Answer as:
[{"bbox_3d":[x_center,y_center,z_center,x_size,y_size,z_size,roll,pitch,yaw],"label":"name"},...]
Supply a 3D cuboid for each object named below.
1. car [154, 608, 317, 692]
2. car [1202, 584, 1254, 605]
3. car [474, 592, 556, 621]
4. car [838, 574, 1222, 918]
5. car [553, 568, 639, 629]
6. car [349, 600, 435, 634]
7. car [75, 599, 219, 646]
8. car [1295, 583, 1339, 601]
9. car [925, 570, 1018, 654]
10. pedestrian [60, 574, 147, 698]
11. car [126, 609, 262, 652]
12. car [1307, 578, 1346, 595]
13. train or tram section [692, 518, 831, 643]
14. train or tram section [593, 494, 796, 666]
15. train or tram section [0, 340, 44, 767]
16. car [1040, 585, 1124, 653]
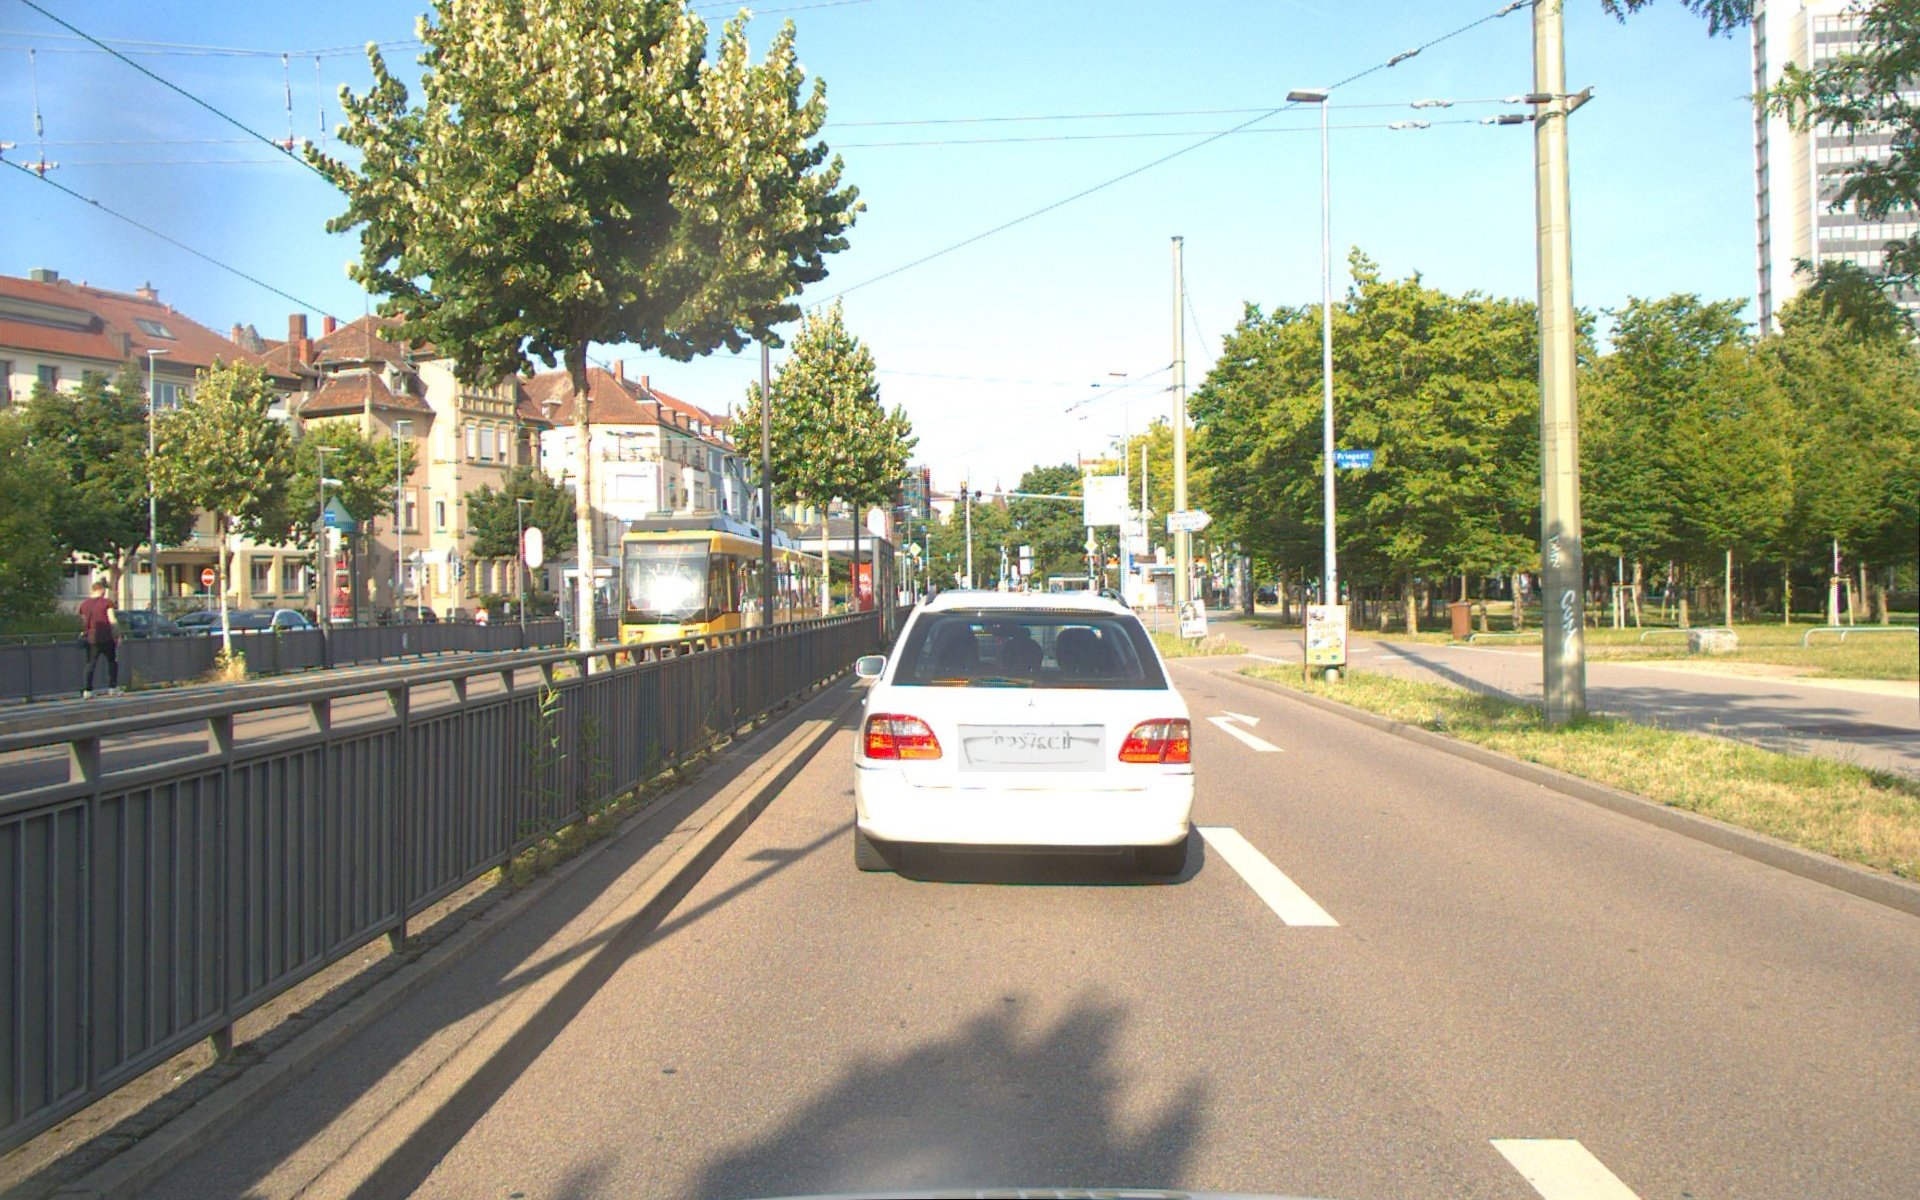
[{"bbox_3d":[-16.232,1.076,37.270,1.953,1.713,3.999,0,0,-1],"label":"car"},{"bbox_3d":[22.761,-0.432,140.416,3.908,1.680,1.998,-1,0,26],"label":"car"},{"bbox_3d":[-25.848,0.358,96.276,2.159,1.656,4.715,0,0,23],"label":"car"},{"bbox_3d":[0.385,0.694,9.612,1.722,1.530,4.001,-2,-1,2],"label":"car"},{"bbox_3d":[-17.404,-0.100,79.516,2.543,2.783,7.468,0,0,0],"label":"car"},{"bbox_3d":[-30.087,0.896,87.661,3.903,1.780,2.001,0,0,18],"label":"car"},{"bbox_3d":[-27.004,0.741,54.975,3.902,1.422,2.002,0,3,15],"label":"car"},{"bbox_3d":[36.244,-0.792,167.906,3.939,1.680,1.983,-2,0,-27],"label":"car"},{"bbox_3d":[0.313,0.238,36.183,1.749,1.719,4.002,0,0,4],"label":"car"},{"bbox_3d":[-12.481,0.512,24.114,0.818,1.763,0.772,-1,0,0],"label":"pedestrian"},{"bbox_3d":[-26.635,1.063,57.521,3.902,1.422,2.002,0,0,15],"label":"car"},{"bbox_3d":[38.412,-1.444,173.537,3.902,1.680,2.002,-2,0,14],"label":"car"},{"bbox_3d":[-6.149,-0.613,53.588,2.791,3.540,13.200,0,0,0],"label":"train or tram section"},{"bbox_3d":[-6.140,-0.485,40.733,2.791,3.540,13.200,0,1,0],"label":"train or tram section"},{"bbox_3d":[-9.400,-0.317,7.078,3.097,3.540,14.469,0,0,-1],"label":"train or tram section"},{"bbox_3d":[3.085,0.435,41.754,1.990,1.633,4.002,0,0,4],"label":"car"}]
